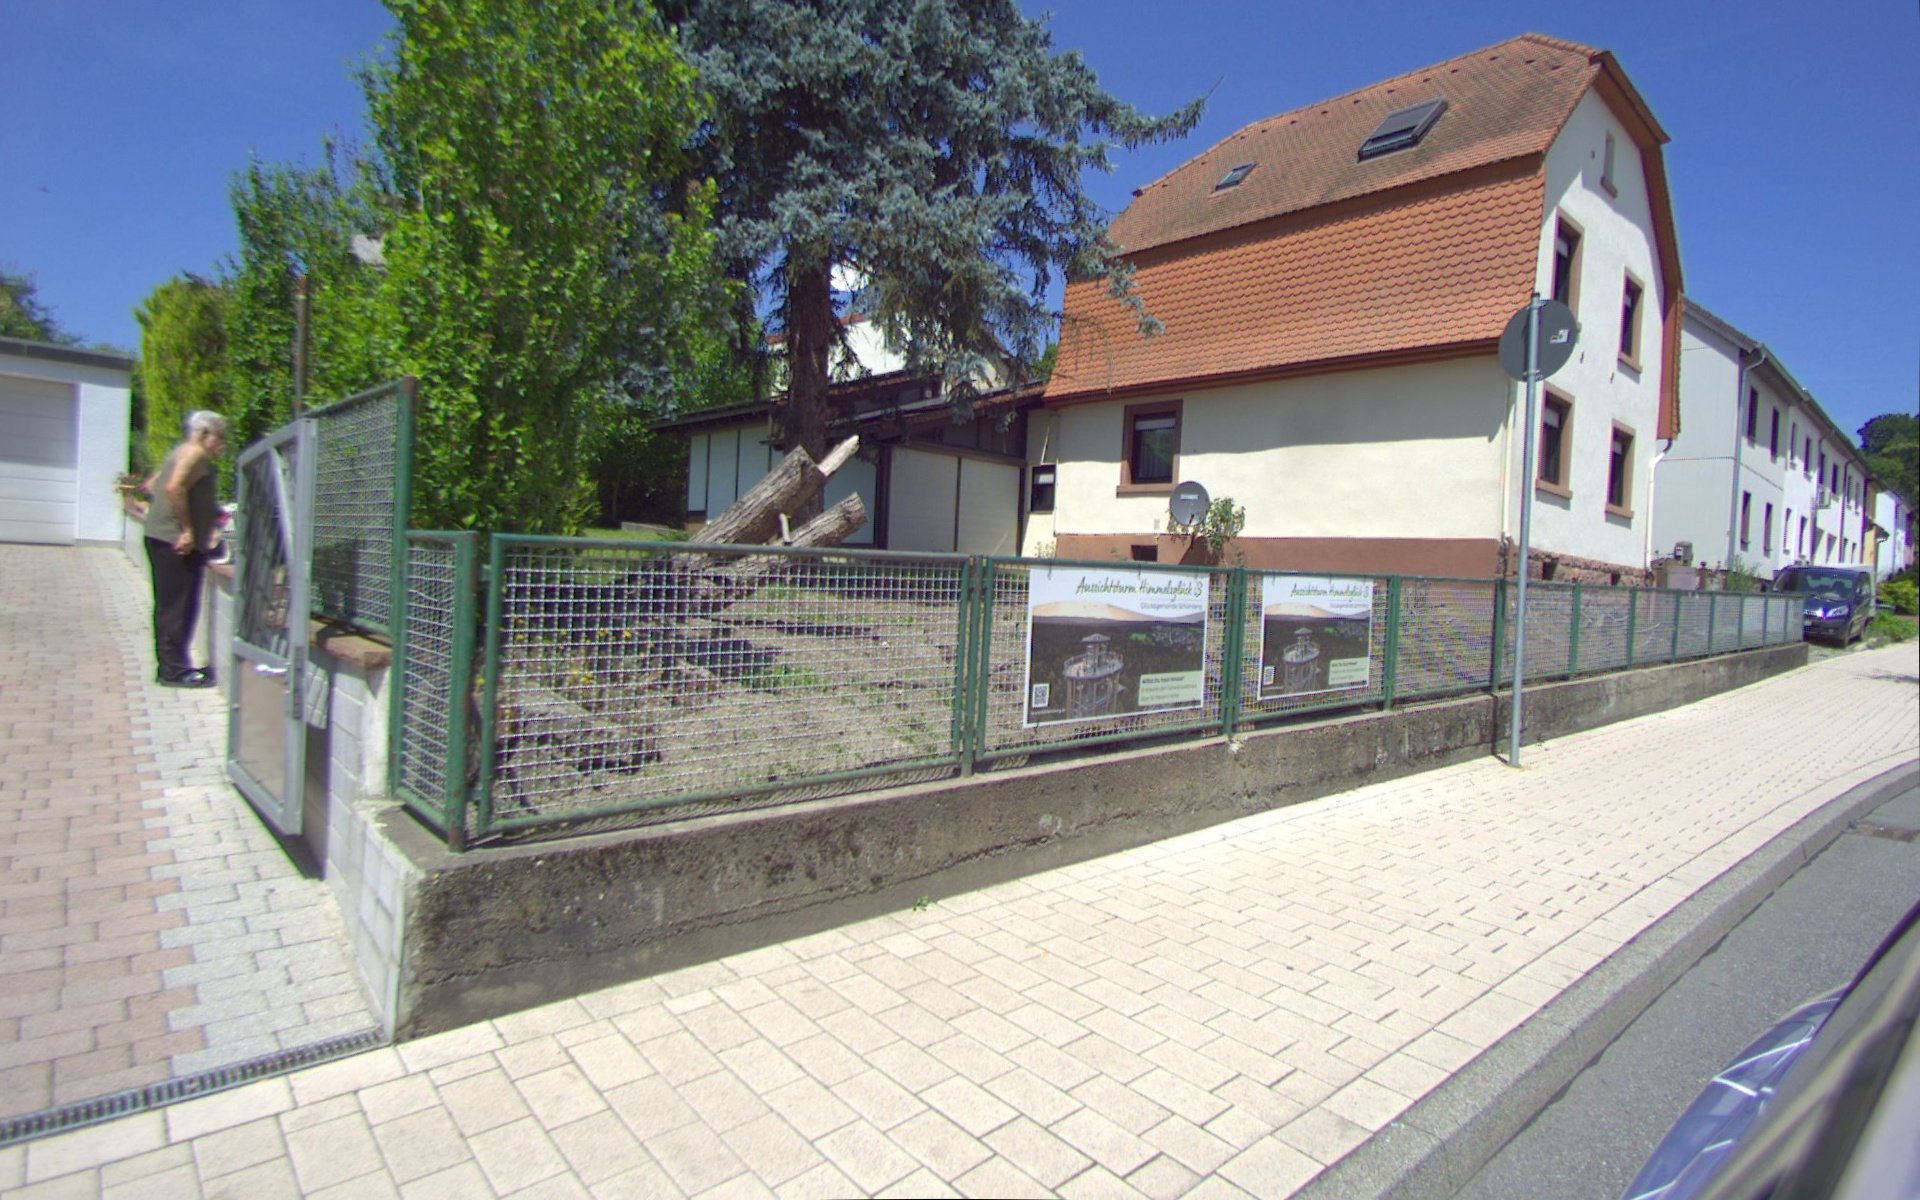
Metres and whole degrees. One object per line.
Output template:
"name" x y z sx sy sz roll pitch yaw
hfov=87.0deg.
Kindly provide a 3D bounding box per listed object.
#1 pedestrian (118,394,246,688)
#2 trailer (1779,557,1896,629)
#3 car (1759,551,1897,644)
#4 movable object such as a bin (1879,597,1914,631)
"pedestrian" -4.632 -0.354 6.017 0.543 1.634 0.606 1 6 -42
"trailer" 25.882 -0.217 29.893 2.230 2.039 1.324 1 1 1
"car" 22.426 -0.084 26.079 4.691 1.993 1.858 0 8 -42
"movable object such as a bin" 32.991 0.492 35.639 0.797 1.128 0.687 0 5 -37
